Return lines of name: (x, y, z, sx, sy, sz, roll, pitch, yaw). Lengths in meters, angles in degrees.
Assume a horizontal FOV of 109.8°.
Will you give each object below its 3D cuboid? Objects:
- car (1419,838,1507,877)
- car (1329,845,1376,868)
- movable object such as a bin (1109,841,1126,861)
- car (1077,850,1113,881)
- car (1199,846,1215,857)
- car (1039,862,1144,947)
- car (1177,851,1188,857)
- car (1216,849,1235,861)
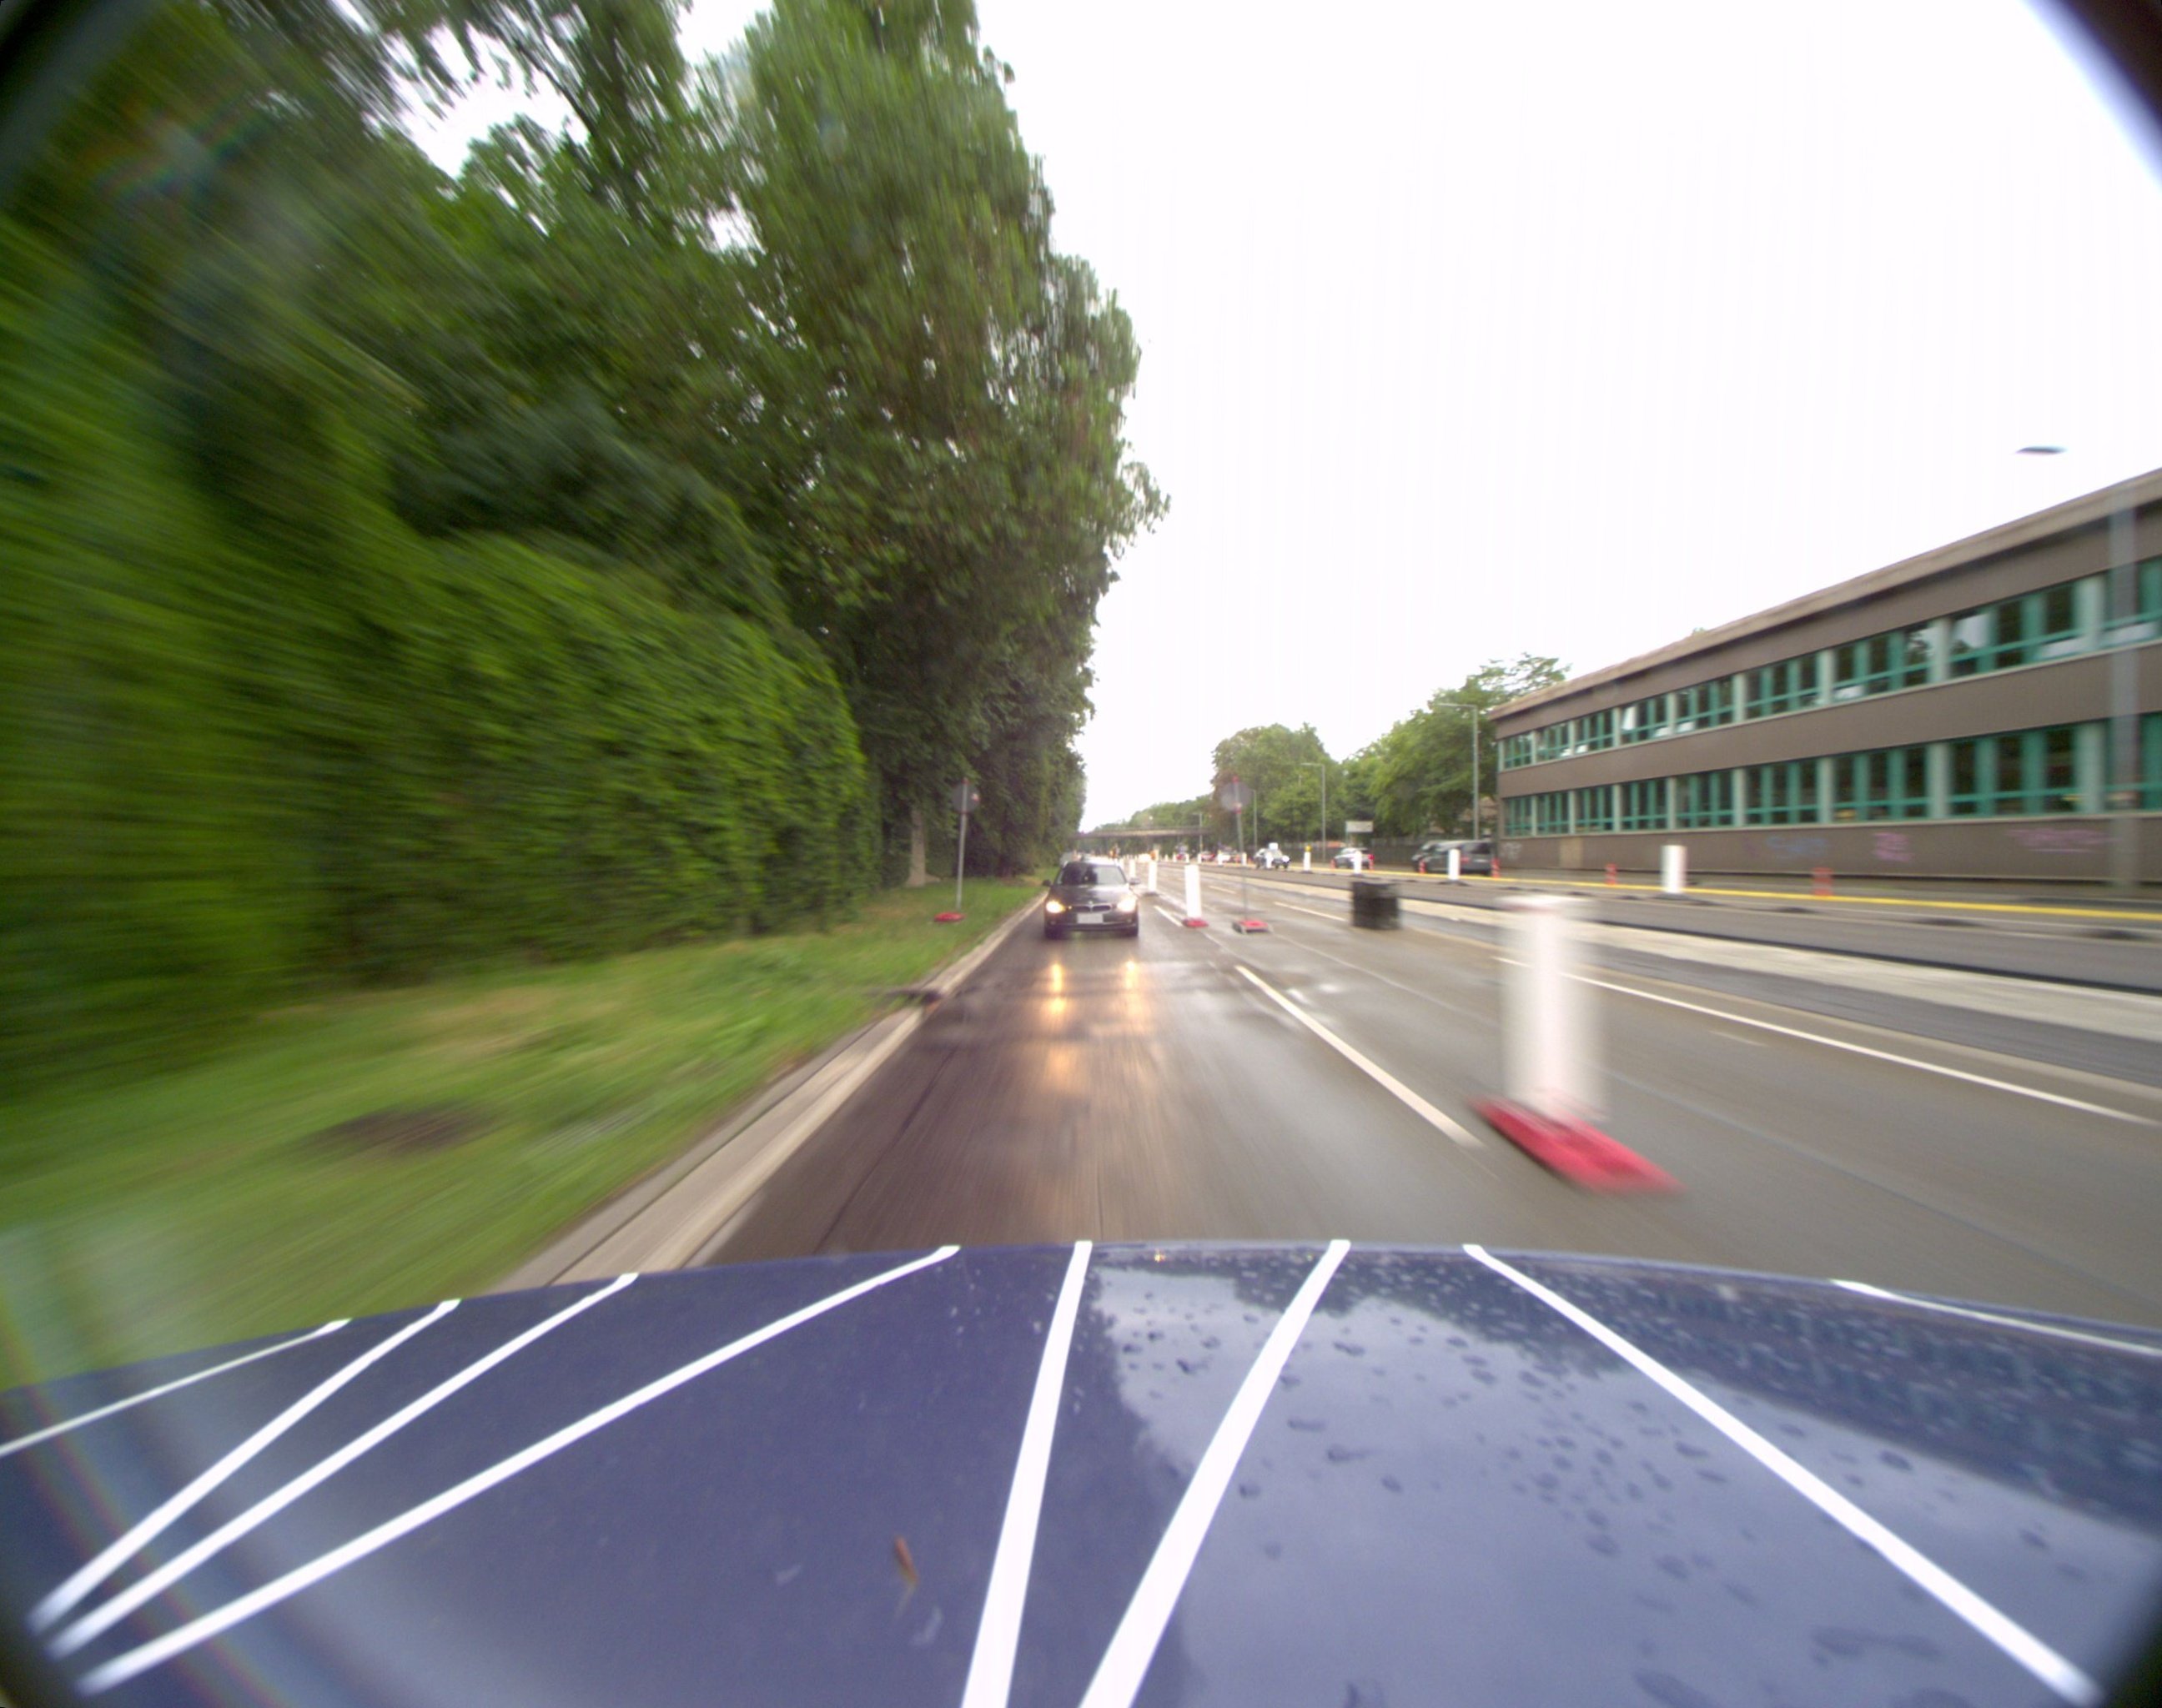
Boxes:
car: (19.221, 0.137, 38.508, 1.998, 1.770, 4.954, -2, 0, 1)
car: (21.830, 0.189, 61.377, 1.943, 1.696, 4.934, -2, 0, 0)
movable object such as a bin: (8.535, -0.749, 178.605, 3.526, 4.495, 10.069, -2, 1, 1)
car: (0.805, 0.648, 45.127, 1.998, 1.650, 4.229, -2, 1, 1)
car: (20.096, -0.420, 121.456, 1.993, 1.758, 4.674, -2, 1, 2)
car: (0.166, 0.932, 15.653, 1.838, 1.397, 3.999, -2, 0, -1)
car: (23.212, 0.005, 173.638, 1.999, 1.421, 4.265, -2, 0, -1)
car: (20.044, 0.098, 105.575, 1.808, 1.525, 3.991, -2, 1, 1)
